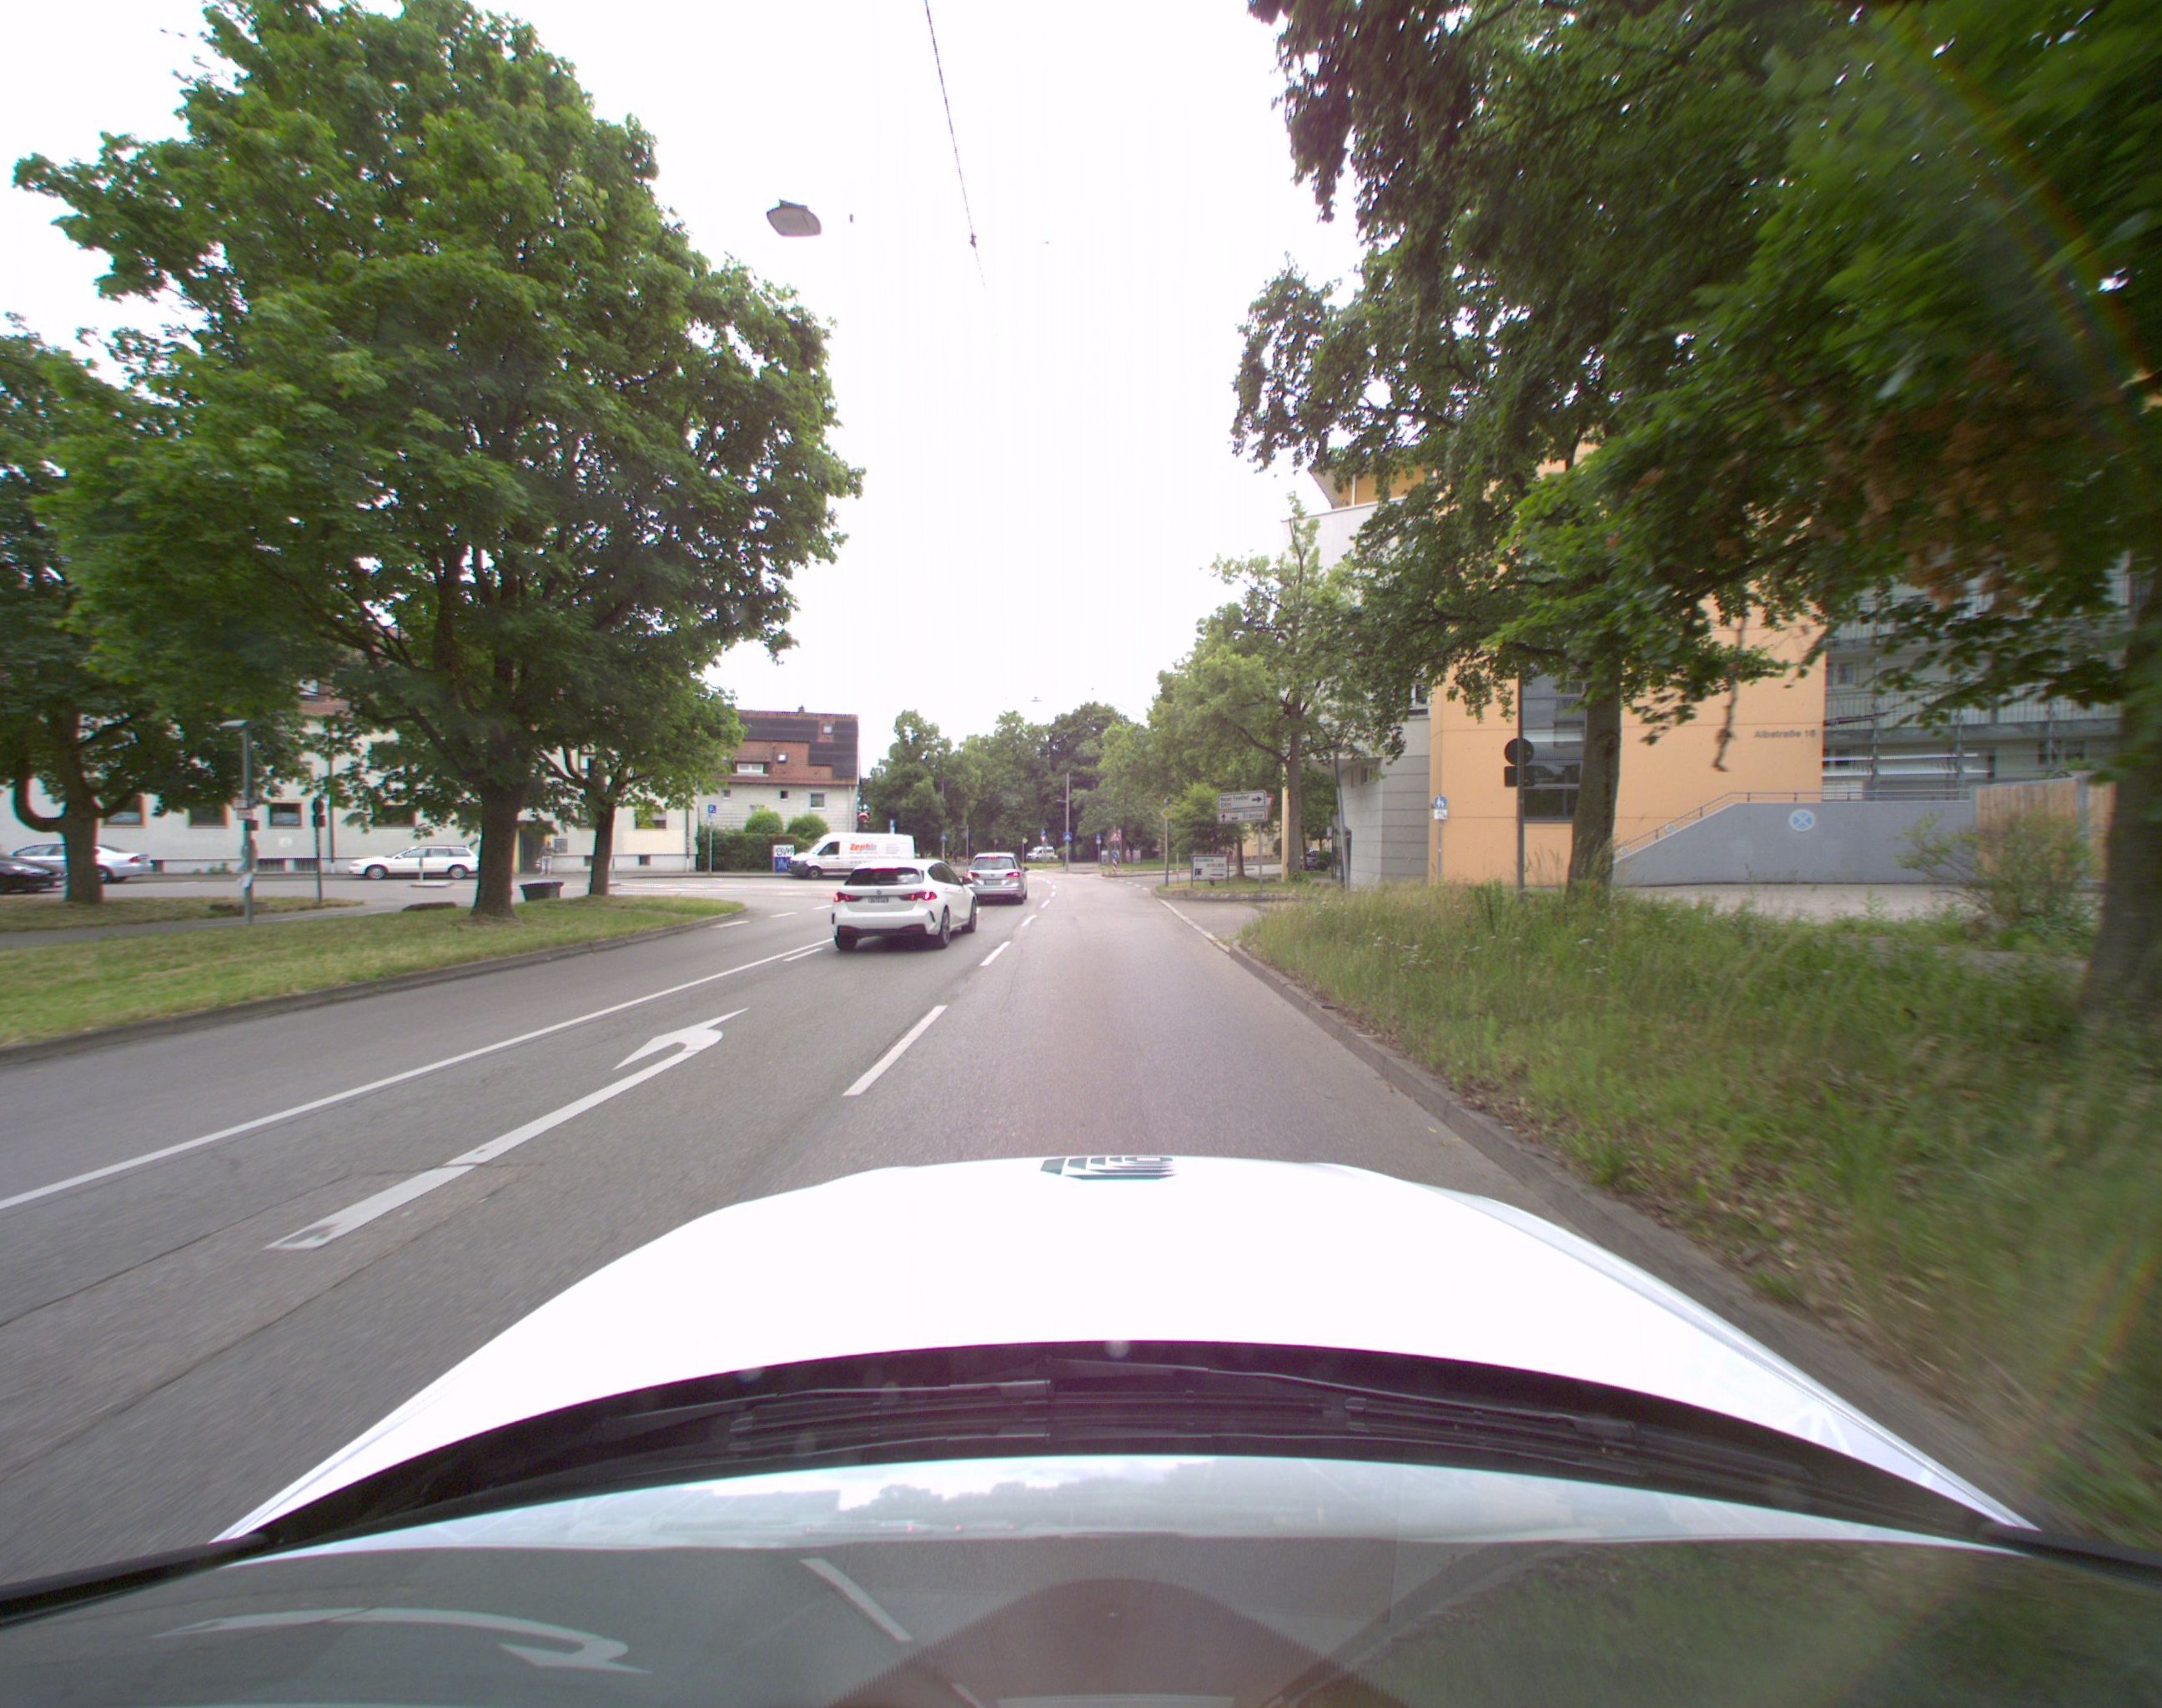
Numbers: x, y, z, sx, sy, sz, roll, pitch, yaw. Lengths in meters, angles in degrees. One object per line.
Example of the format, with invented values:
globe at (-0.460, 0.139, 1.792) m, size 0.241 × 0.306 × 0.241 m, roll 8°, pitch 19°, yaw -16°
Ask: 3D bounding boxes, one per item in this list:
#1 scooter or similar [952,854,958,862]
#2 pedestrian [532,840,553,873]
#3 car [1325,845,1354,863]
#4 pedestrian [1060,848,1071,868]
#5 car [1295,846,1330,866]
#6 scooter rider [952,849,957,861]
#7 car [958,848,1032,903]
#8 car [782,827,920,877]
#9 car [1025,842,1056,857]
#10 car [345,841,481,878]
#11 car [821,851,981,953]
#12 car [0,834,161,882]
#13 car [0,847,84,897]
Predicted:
scooter or similar at (-16.873, 0.552, 109.103) m, size 0.601 × 1.054 × 0.869 m, roll -1°, pitch 2°, yaw -13°
pedestrian at (-26.088, 0.111, 39.432) m, size 0.753 × 1.534 × 0.708 m, roll 2°, pitch 1°, yaw -38°
car at (24.868, -0.003, 78.261) m, size 1.761 × 1.597 × 4.275 m, roll 2°, pitch 1°, yaw 30°
pedestrian at (-1.583, 0.392, 81.571) m, size 0.921 × 1.871 × 1.018 m, roll -4°, pitch 3°, yaw -3°
car at (19.493, 0.136, 68.530) m, size 1.857 × 1.568 × 4.043 m, roll 3°, pitch 1°, yaw 29°
scooter rider at (-16.918, 0.090, 109.241) m, size 0.601 × 1.552 × 0.564 m, roll -1°, pitch 2°, yaw -13°
car at (-2.637, 0.625, 25.836) m, size 1.917 × 1.574 × 4.000 m, roll 0°, pitch 1°, yaw 0°
car at (-12.531, -0.089, 44.735) m, size 7.012 × 2.521 × 2.062 m, roll 0°, pitch 2°, yaw -37°
car at (-6.734, -0.710, 136.138) m, size 2.110 × 2.297 × 5.419 m, roll 4°, pitch 2°, yaw 39°
car at (-28.246, 0.251, 34.580) m, size 4.338 × 1.440 × 1.702 m, roll 2°, pitch 2°, yaw -39°
car at (-3.033, 0.737, 14.657) m, size 1.789 × 1.517 × 4.208 m, roll -2°, pitch 0°, yaw 1°
car at (-34.842, 0.155, 27.824) m, size 4.255 × 1.534 × 1.664 m, roll 1°, pitch -1°, yaw -40°
car at (-31.852, 0.508, 23.198) m, size 4.009 × 1.336 × 1.630 m, roll 0°, pitch 2°, yaw -28°
